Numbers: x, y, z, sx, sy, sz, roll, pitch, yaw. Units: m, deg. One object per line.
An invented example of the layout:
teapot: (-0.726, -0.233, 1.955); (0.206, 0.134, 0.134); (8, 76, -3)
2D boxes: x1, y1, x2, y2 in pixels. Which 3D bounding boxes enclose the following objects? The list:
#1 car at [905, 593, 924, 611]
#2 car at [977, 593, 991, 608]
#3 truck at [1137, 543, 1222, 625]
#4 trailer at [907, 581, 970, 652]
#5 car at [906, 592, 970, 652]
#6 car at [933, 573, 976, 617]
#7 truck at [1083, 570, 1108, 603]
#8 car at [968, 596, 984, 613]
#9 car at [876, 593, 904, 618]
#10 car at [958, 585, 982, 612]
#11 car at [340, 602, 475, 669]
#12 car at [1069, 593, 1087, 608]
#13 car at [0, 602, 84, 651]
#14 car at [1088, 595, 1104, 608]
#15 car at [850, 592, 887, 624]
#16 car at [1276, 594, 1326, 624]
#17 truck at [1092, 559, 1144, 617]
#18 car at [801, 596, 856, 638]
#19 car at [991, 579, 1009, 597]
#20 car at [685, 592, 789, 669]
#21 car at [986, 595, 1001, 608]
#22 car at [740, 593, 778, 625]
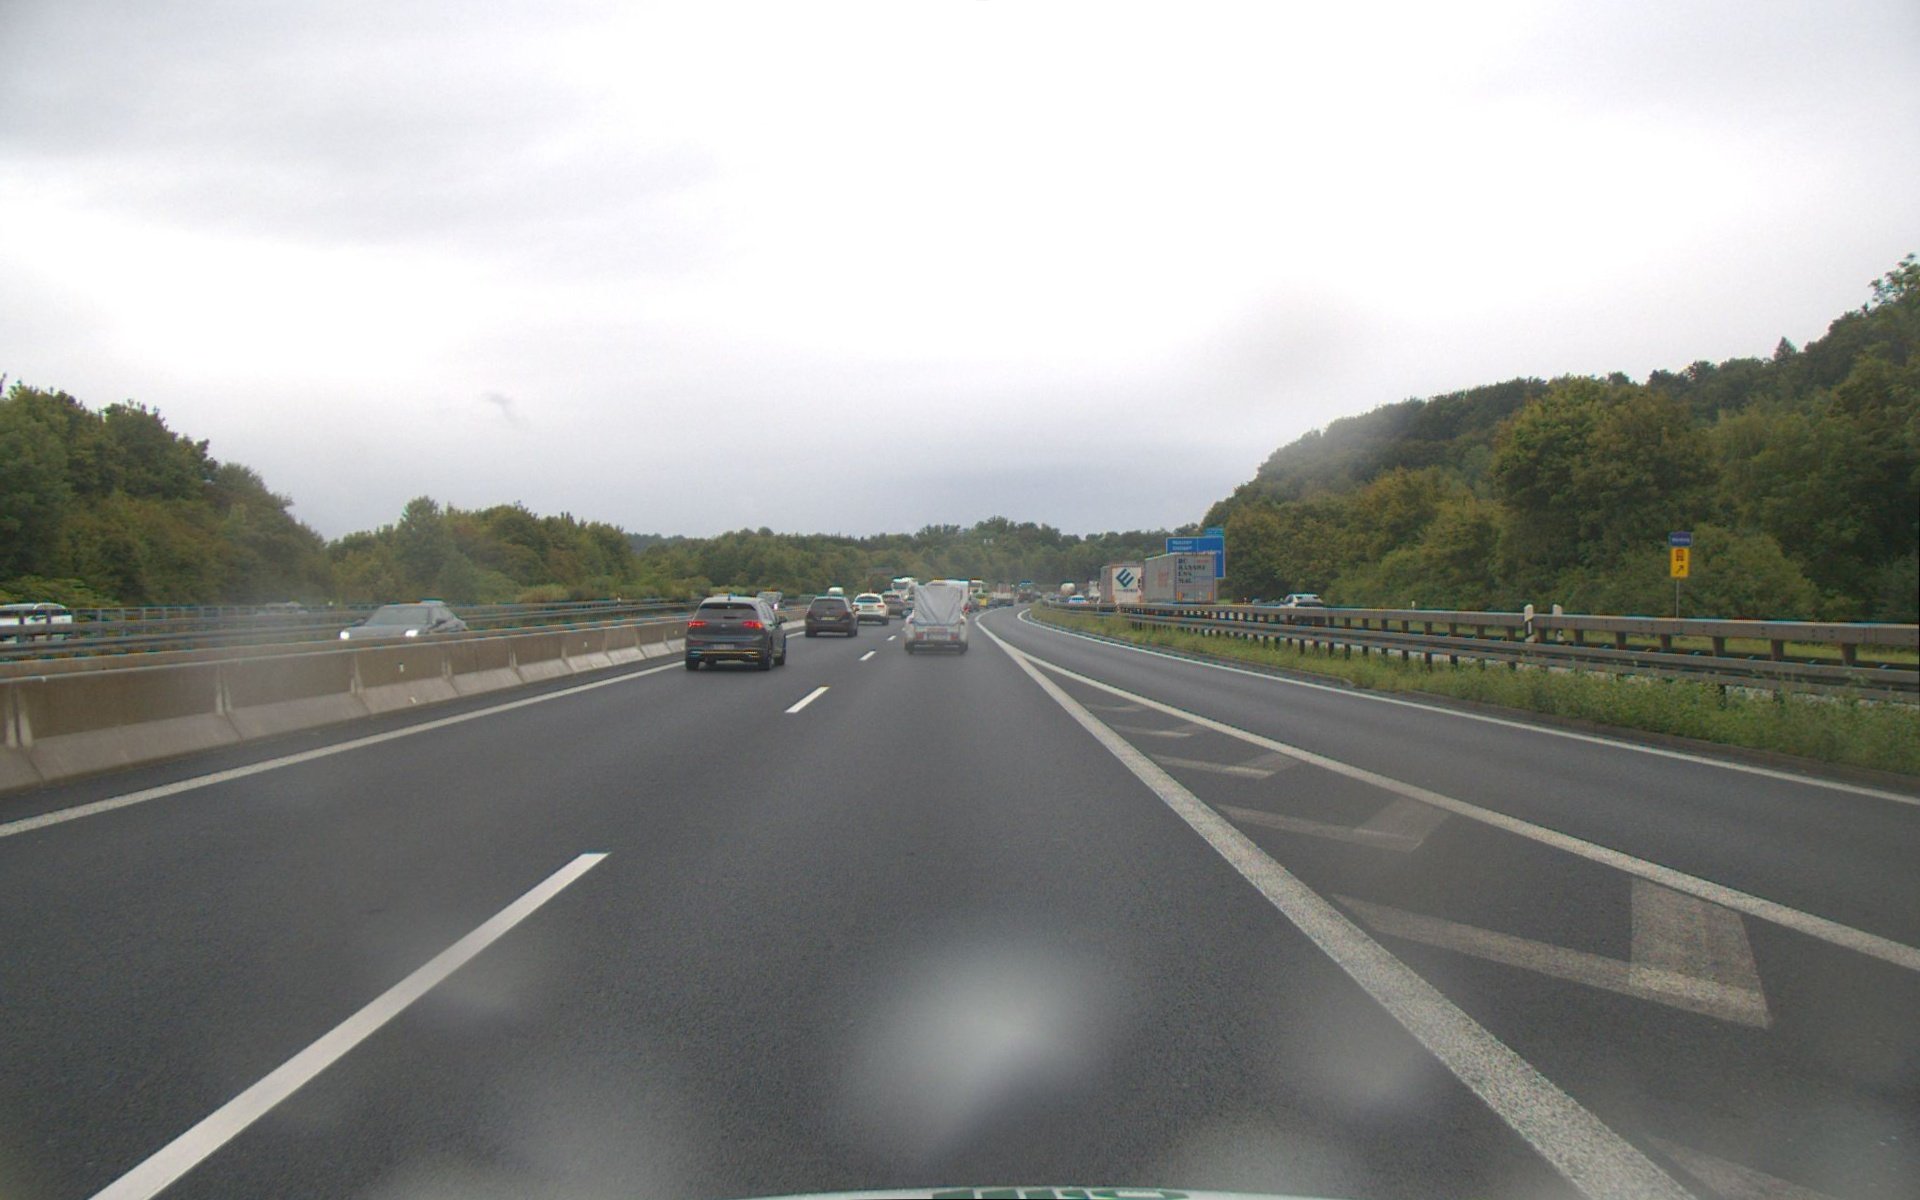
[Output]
car: (-4.332, 0.208, 157.834); (1.739, 1.669, 4.042); (1, 0, -1)
car: (3.028, 0.103, 207.668); (1.641, 1.844, 4.001); (1, 0, 2)
truck: (13.471, -0.920, 102.850); (3.150, 4.748, 13.028); (1, 0, -2)
trailer: (-0.562, 0.441, 45.140); (1.641, 1.844, 4.000); (1, 0, 0)
car: (-0.599, 0.617, 48.624); (1.781, 1.644, 4.777); (1, 0, 0)
car: (-0.302, -0.307, 104.048); (2.455, 2.630, 5.701); (1, 0, 2)
truck: (20.095, -1.899, 245.508); (3.586, 4.748, 13.039); (1, 0, 4)
car: (1.734, 0.524, 180.049); (1.641, 1.844, 4.001); (1, 0, 2)
car: (-4.766, 0.377, 113.485); (1.739, 1.669, 4.042); (1, 0, -1)
car: (0.772, -0.098, 131.534); (1.643, 2.103, 3.997); (1, 0, -4)
car: (-12.932, 0.798, 38.989); (1.720, 1.481, 4.417); (1, 0, -1)
car: (11.768, 0.054, 165.169); (1.641, 1.481, 4.002); (1, 0, 3)
car: (-30.111, 0.826, 53.154); (1.642, 1.481, 4.630); (1, 0, -3)
car: (16.418, 0.215, 199.692); (1.641, 1.481, 4.000); (1, 0, 1)
car: (-4.818, 0.421, 87.814); (1.739, 1.669, 4.042); (1, 0, -1)
car: (17.649, 0.453, 85.716); (1.642, 1.481, 3.999); (1, 0, -2)
truck: (13.500, -0.945, 142.625); (3.150, 4.748, 13.031); (1, 0, 0)
car: (-4.832, 0.629, 61.358); (1.729, 1.481, 3.999); (1, 0, -1)
car: (5.973, -1.767, 247.078); (2.463, 2.620, 5.314); (1, 0, 3)
car: (-4.597, 0.608, 34.583); (1.641, 1.481, 3.999); (1, 0, -1)
car: (4.518, 0.262, 221.729); (1.995, 1.712, 4.001); (1, 0, 2)
car: (-13.537, 0.589, 111.469); (1.953, 2.049, 4.982); (1, 0, -1)
